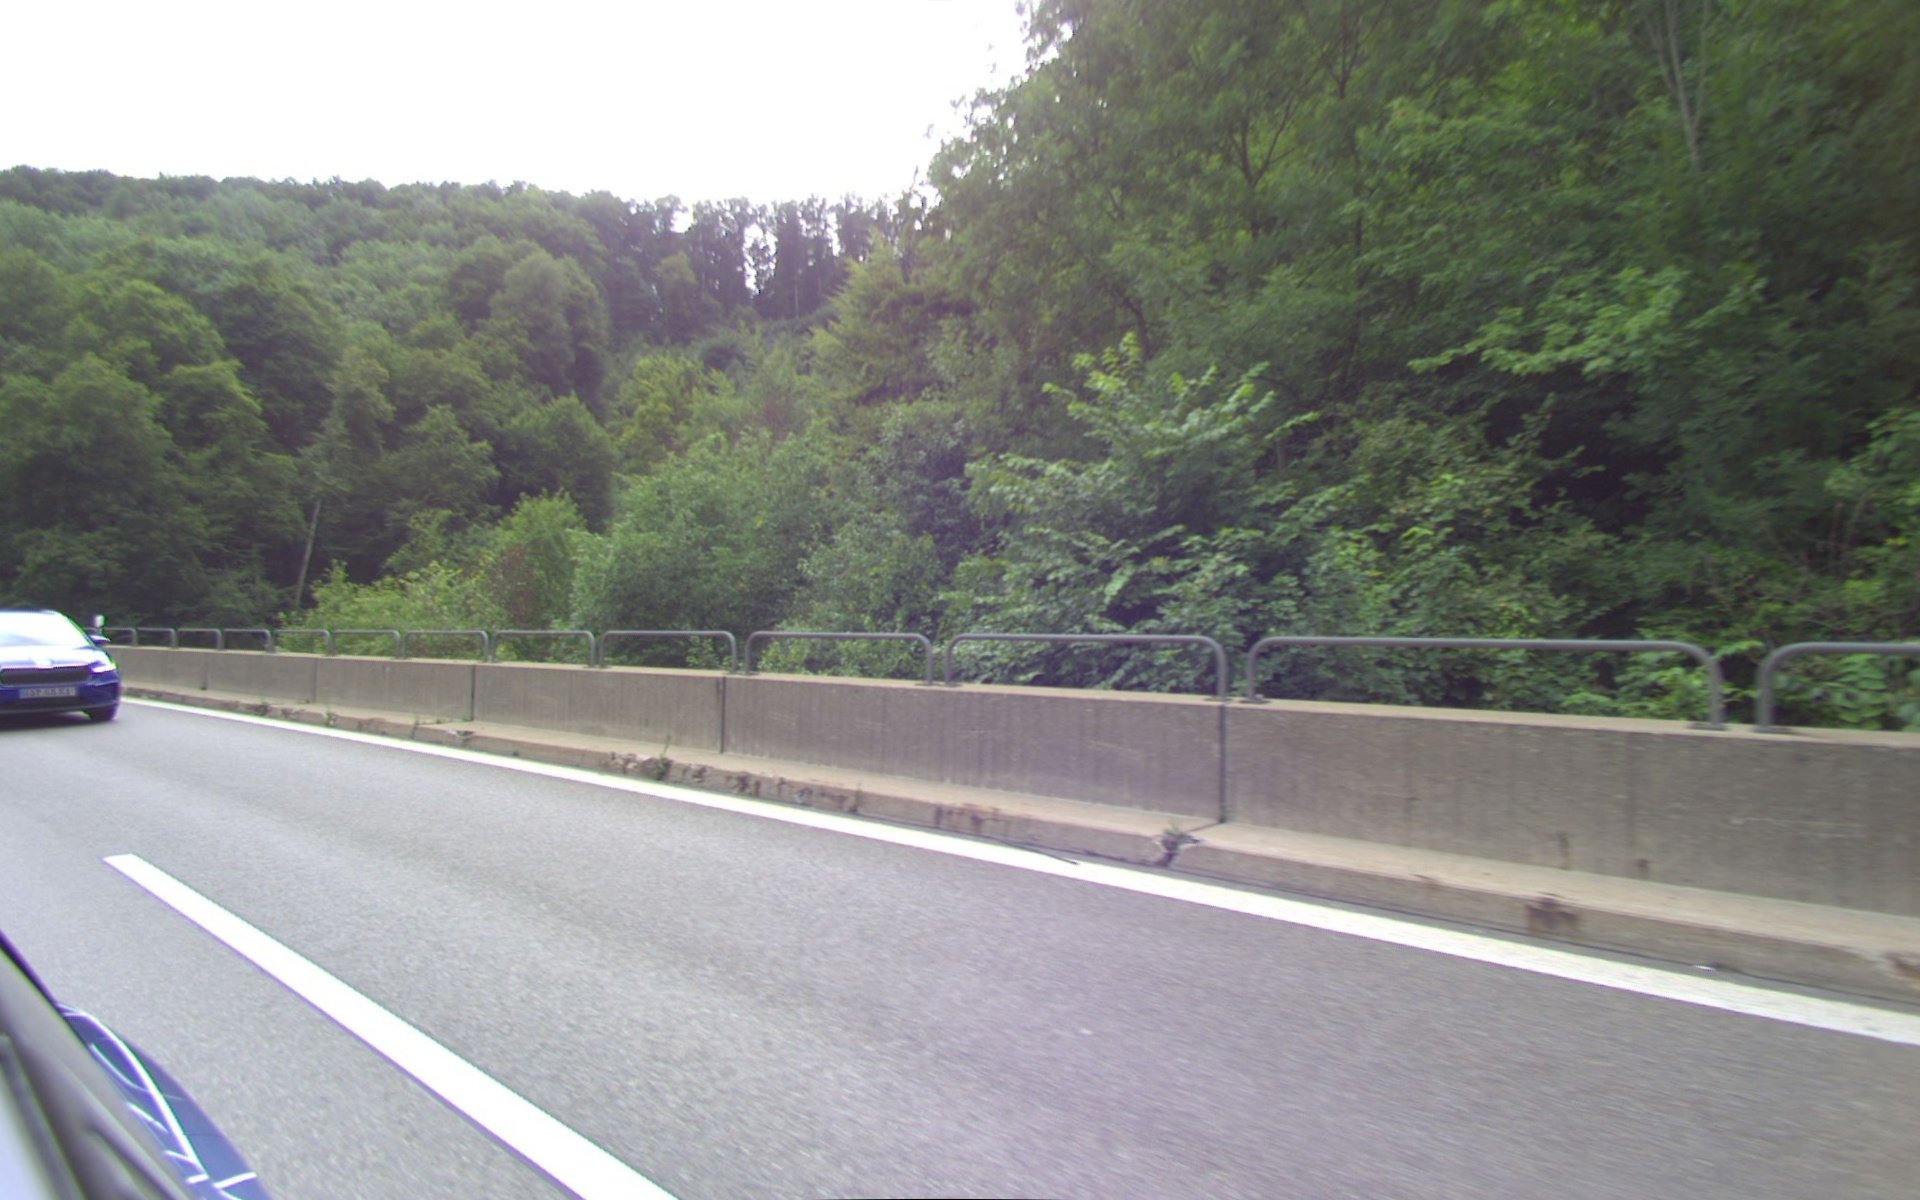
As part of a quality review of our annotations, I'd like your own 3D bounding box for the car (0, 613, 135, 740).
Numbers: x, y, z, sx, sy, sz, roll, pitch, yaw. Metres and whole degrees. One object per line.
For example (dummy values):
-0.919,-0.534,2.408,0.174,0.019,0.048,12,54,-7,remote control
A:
-14.265,1.063,15.036,4.999,1.644,1.975,-2,-2,37,car
